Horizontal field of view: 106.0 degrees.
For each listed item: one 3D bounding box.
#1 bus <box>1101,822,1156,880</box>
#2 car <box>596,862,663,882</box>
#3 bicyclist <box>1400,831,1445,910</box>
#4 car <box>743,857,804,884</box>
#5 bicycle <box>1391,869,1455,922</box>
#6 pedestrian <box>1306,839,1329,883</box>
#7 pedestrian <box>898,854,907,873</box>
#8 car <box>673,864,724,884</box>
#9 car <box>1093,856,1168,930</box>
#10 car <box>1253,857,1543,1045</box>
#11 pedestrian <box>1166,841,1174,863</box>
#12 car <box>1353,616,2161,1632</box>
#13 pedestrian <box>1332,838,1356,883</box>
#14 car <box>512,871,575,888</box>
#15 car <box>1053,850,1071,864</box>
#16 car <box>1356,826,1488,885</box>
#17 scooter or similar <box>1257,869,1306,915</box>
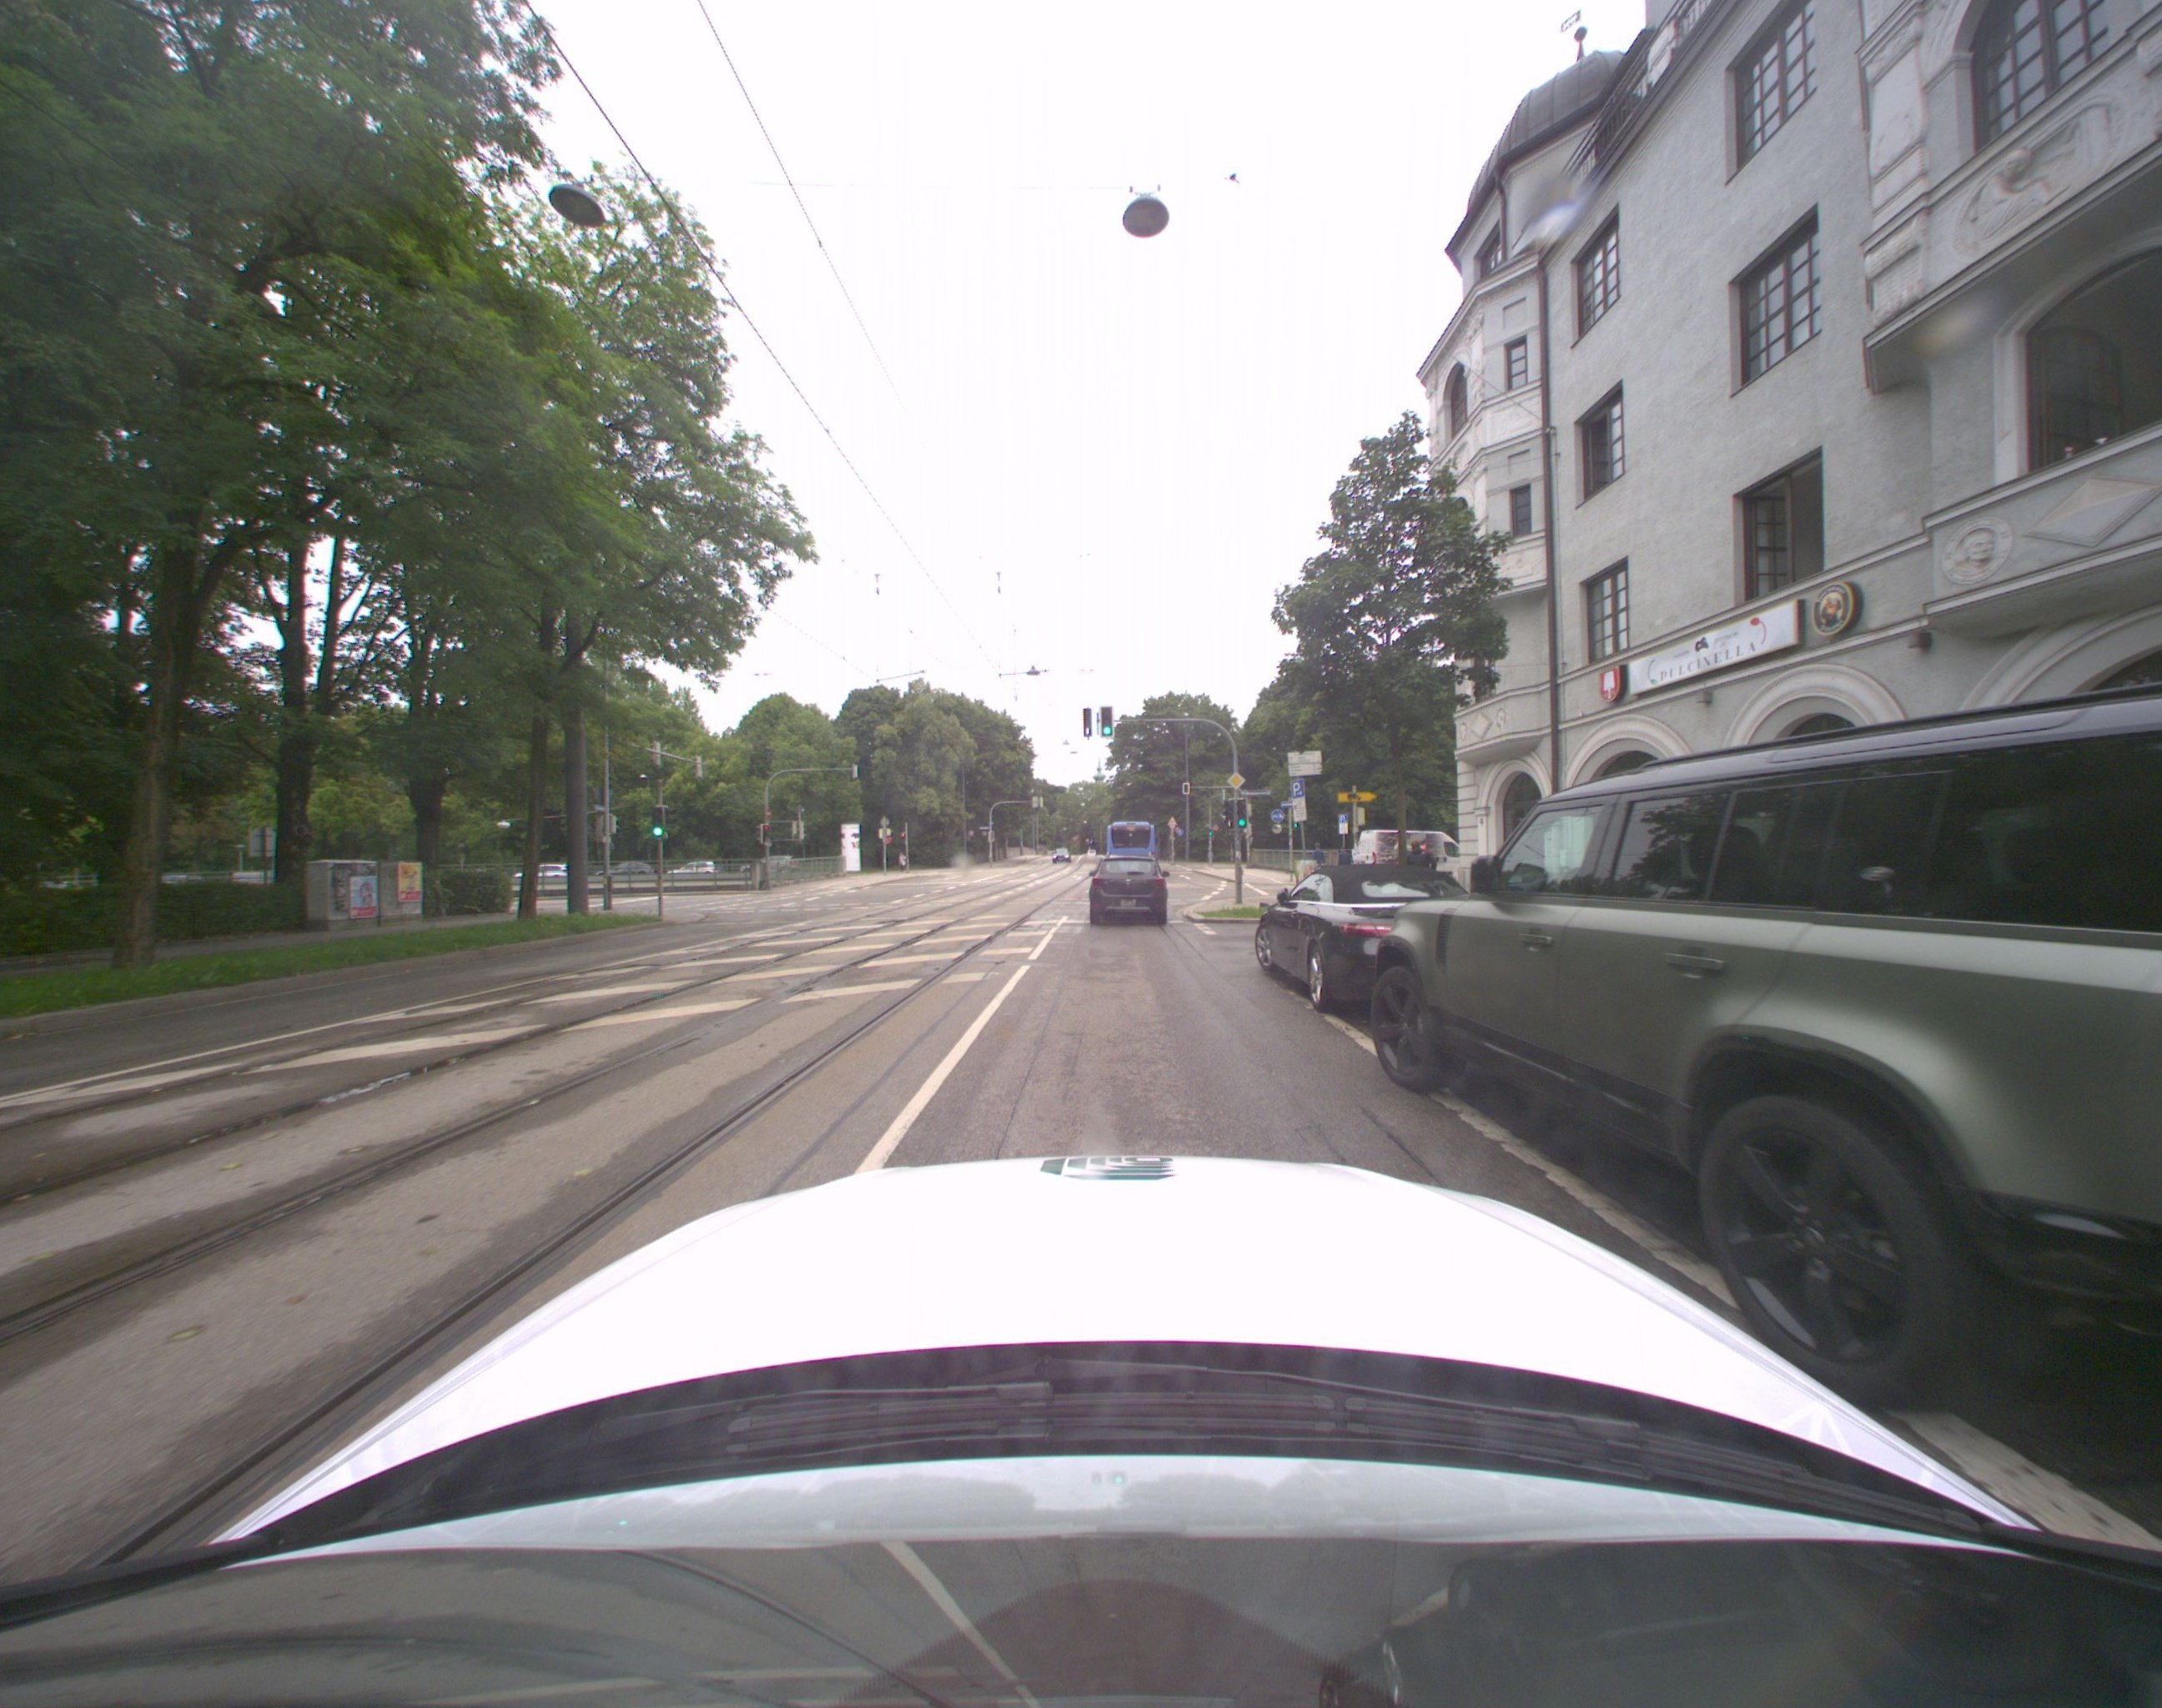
[{"bbox_3d":[2.549,-0.129,45.770,2.670,2.997,6.959,1,-1,0],"label":"bus"},{"bbox_3d":[-33.470,1.311,60.417,3.915,1.404,1.719,1,-1,-3],"label":"car"},{"bbox_3d":[7.609,0.366,18.173,0.722,1.729,0.726,1,-1,1],"label":"bicyclist"},{"bbox_3d":[-23.004,1.228,61.003,4.015,1.887,1.488,1,-1,-5],"label":"car"},{"bbox_3d":[7.615,0.902,18.215,0.577,1.078,1.912,-3,-1,1],"label":"bicycle"},{"bbox_3d":[10.849,0.318,37.346,0.827,2.014,0.780,1,-1,1],"label":"pedestrian"},{"bbox_3d":[-14.267,0.767,65.158,0.529,1.501,0.589,1,-1,6],"label":"pedestrian"},{"bbox_3d":[-28.283,1.493,60.220,3.103,1.452,1.249,1,-1,-4],"label":"car"},{"bbox_3d":[1.093,0.849,19.144,1.595,1.556,3.526,1,-1,1],"label":"car"},{"bbox_3d":[3.181,0.850,9.162,1.708,1.591,4.329,1,-1,2],"label":"car"},{"bbox_3d":[8.597,-0.146,78.621,0.760,2.116,0.854,1,-1,1],"label":"pedestrian"},{"bbox_3d":[2.977,0.535,3.622,1.908,1.906,4.806,1,-1,0],"label":"car"},{"bbox_3d":[11.795,0.292,36.532,0.827,2.014,0.780,1,-1,1],"label":"pedestrian"},{"bbox_3d":[-39.581,1.872,60.006,3.720,1.185,1.249,1,-1,-4],"label":"car"},{"bbox_3d":[-1.922,0.319,83.194,1.782,1.370,3.400,1,-1,0],"label":"car"},{"bbox_3d":[15.957,0.081,38.287,5.281,2.613,2.229,1,-1,-2],"label":"car"},{"bbox_3d":[5.066,0.944,20.538,1.184,1.096,0.592,0,-1,15],"label":"scooter or similar"}]
